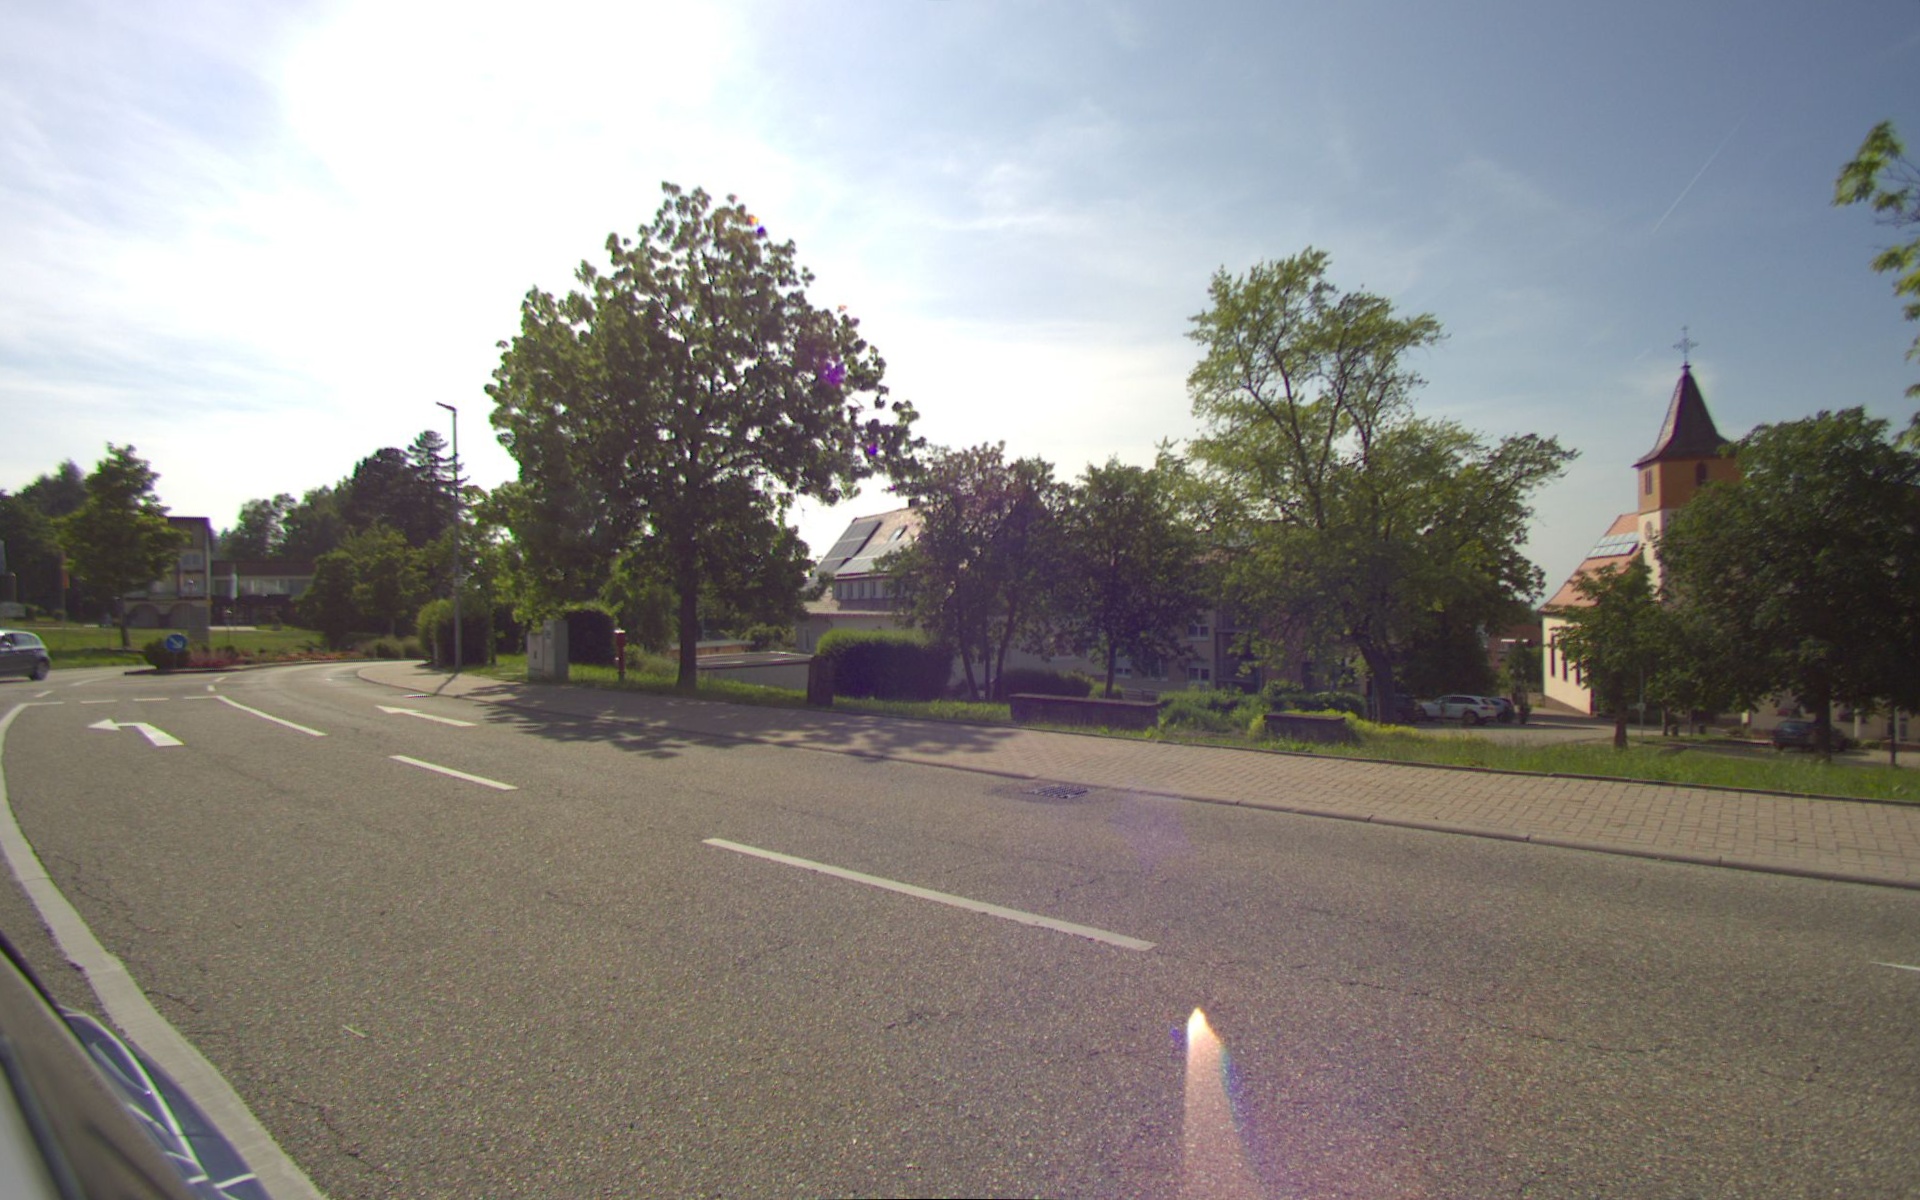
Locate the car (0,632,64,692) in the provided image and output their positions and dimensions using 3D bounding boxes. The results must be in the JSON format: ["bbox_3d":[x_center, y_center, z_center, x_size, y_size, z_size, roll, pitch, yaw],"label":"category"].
[{"bbox_3d":[-26.118,1.612,26.826,1.872,1.519,4.011,3,-3,-15],"label":"car"}]

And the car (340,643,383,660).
[{"bbox_3d":[-55.475,4.724,93.783,3.286,1.415,1.704,2,-2,19],"label":"car"}]

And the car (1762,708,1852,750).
[{"bbox_3d":[37.576,5.676,44.885,3.932,1.630,2.005,3,-3,-33],"label":"car"}]

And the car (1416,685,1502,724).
[{"bbox_3d":[28.632,5.967,58.157,1.969,2.029,4.004,5,-4,-42],"label":"car"}]

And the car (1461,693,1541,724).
[{"bbox_3d":[34.005,6.778,63.659,1.969,1.676,4.004,5,-4,-42],"label":"car"}]
